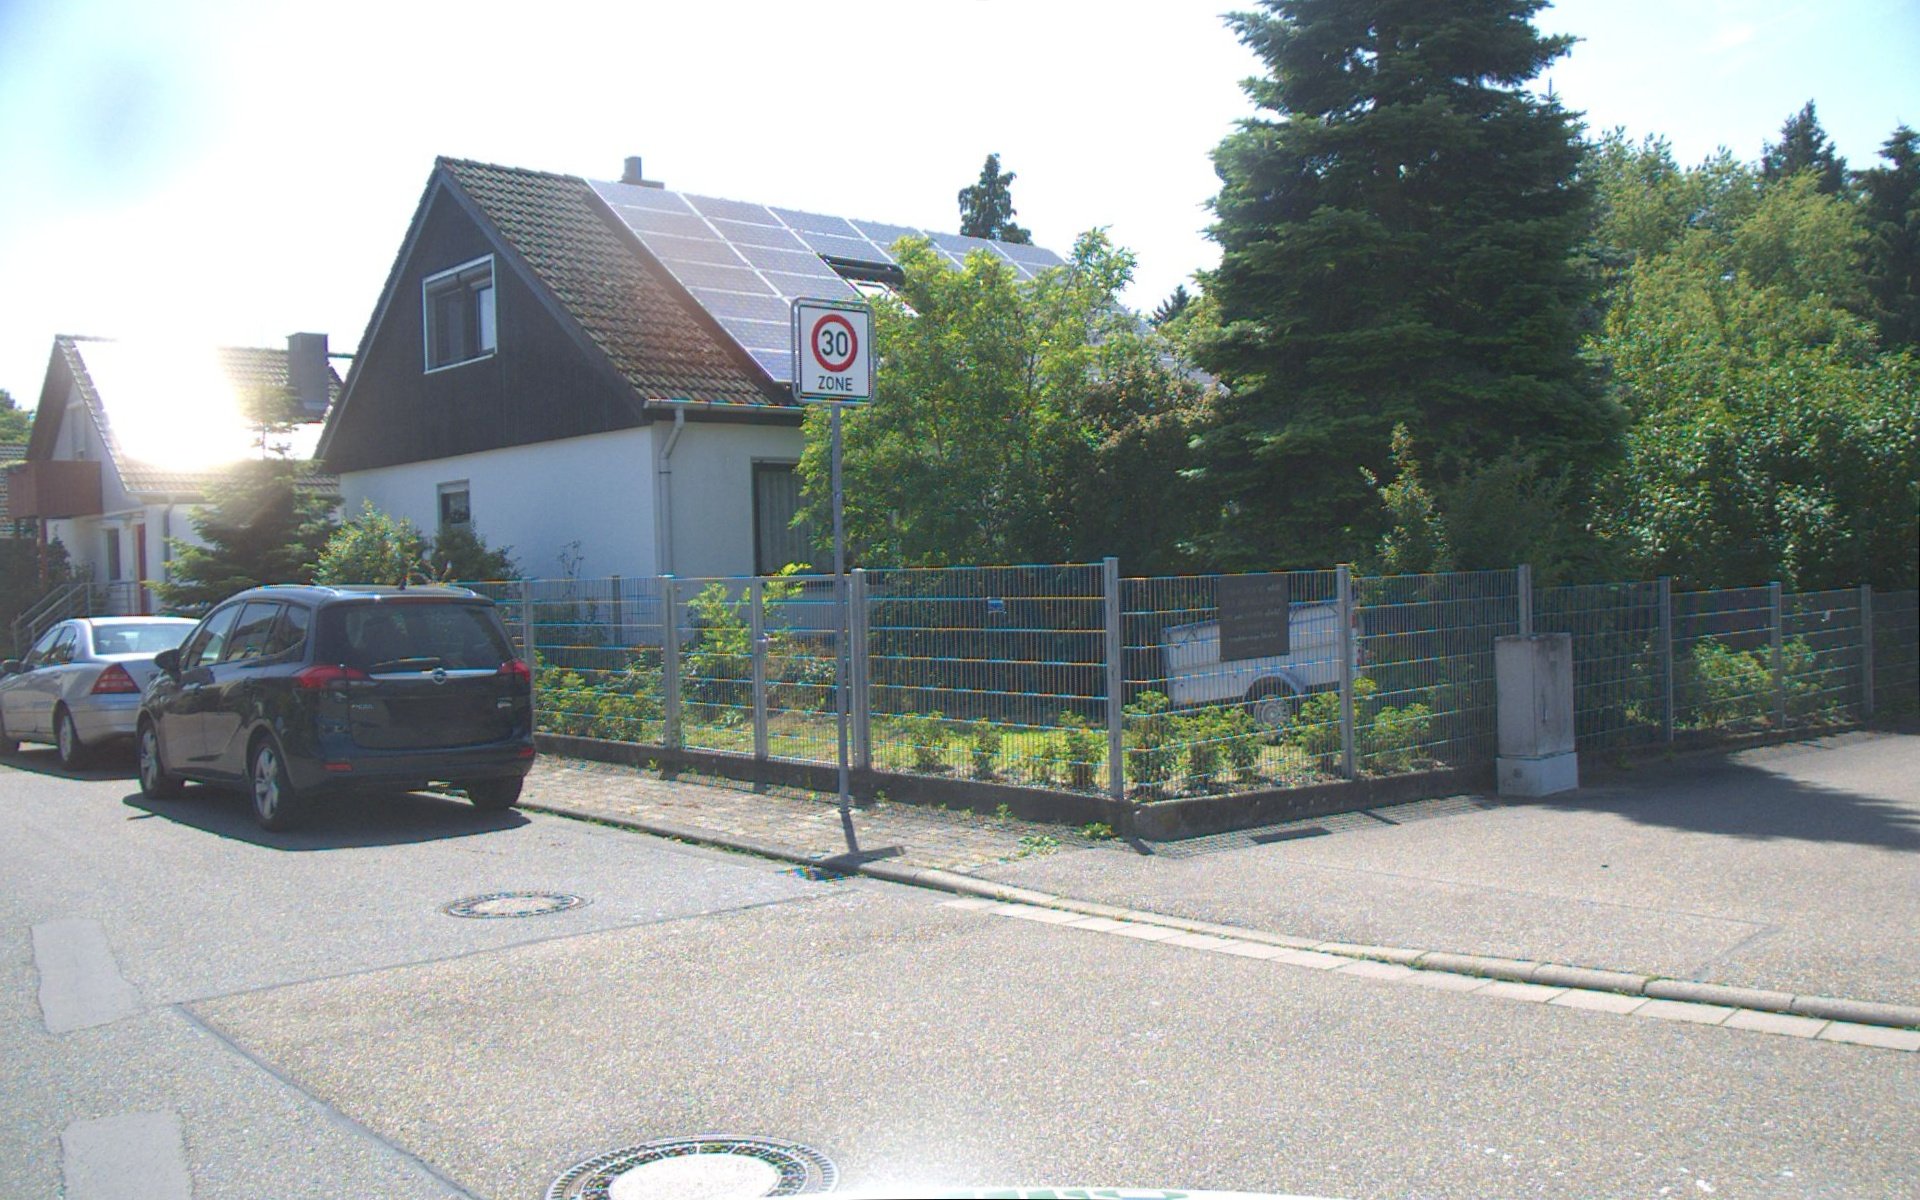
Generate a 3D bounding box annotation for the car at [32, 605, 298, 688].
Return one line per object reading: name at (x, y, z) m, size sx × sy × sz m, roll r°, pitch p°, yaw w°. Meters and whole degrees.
car at (-15.946, 0.883, 33.303) m, size 4.510 × 1.421 × 1.923 m, roll -2°, pitch 1°, yaw -40°

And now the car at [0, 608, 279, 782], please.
car at (-8.572, 0.872, 16.928) m, size 1.677 × 1.485 × 4.272 m, roll -2°, pitch 1°, yaw -41°

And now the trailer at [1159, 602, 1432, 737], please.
trailer at (3.037, 0.601, 15.097) m, size 2.181 × 1.103 × 1.100 m, roll -1°, pitch 1°, yaw 41°

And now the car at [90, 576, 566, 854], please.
car at (-5.025, 0.722, 12.739) m, size 1.952 × 1.691 × 4.612 m, roll -2°, pitch 1°, yaw -41°
